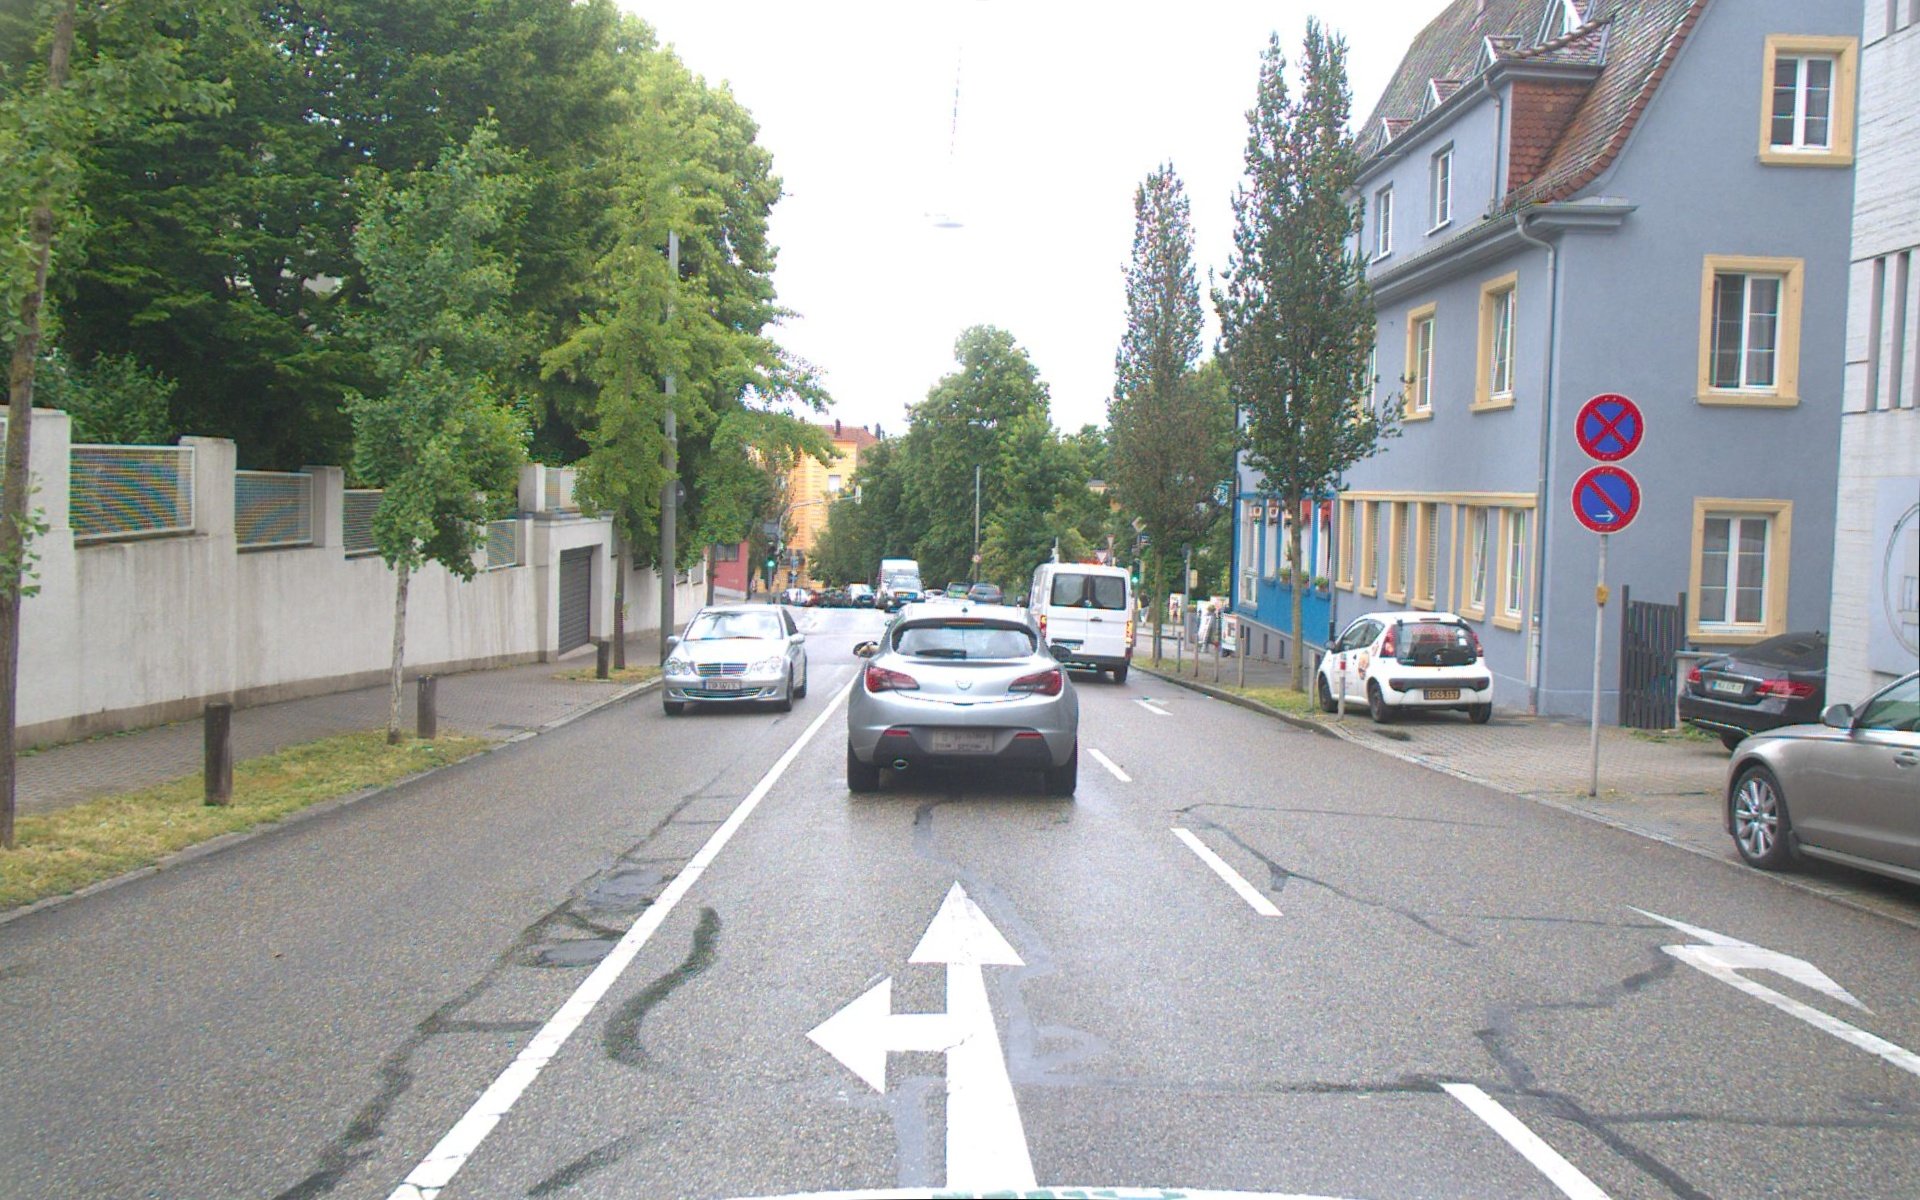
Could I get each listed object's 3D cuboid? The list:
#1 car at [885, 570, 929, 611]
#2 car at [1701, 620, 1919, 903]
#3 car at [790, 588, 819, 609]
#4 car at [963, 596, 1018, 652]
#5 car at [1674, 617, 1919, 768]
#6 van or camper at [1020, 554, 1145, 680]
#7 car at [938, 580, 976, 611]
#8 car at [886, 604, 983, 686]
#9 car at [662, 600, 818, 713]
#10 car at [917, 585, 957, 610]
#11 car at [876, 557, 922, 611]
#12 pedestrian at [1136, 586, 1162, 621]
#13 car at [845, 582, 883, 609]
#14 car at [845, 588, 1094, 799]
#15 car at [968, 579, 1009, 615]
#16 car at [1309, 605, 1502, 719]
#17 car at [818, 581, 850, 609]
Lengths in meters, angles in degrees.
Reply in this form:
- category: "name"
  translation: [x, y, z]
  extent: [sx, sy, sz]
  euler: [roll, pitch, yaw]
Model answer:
- category: "car"
  translation: [-2.418, -0.442, 74.314]
  extent: [1.785, 1.680, 4.343]
  euler: [3, 1, -4]
- category: "car"
  translation: [6.067, 0.909, 8.937]
  extent: [1.778, 1.485, 4.739]
  euler: [1, 0, -3]
- category: "car"
  translation: [-12.130, -0.091, 128.678]
  extent: [1.743, 1.523, 4.249]
  euler: [2, -1, -12]
- category: "car"
  translation: [0.820, 0.636, 45.714]
  extent: [1.355, 1.436, 3.455]
  euler: [1, 0, -1]
- category: "car"
  translation: [10.318, 1.072, 18.401]
  extent: [4.290, 1.432, 1.798]
  euler: [4, -1, -21]
- category: "van or camper"
  translation: [2.515, 0.331, 35.331]
  extent: [2.061, 2.366, 5.416]
  euler: [3, 0, -1]
- category: "car"
  translation: [-0.183, -0.216, 86.316]
  extent: [1.589, 1.512, 3.431]
  euler: [1, -1, -6]
- category: "car"
  translation: [-0.494, 0.807, 31.650]
  extent: [1.740, 1.455, 3.784]
  euler: [0, 0, -1]
- category: "car"
  translation: [-3.018, 0.732, 23.457]
  extent: [1.684, 1.409, 4.284]
  euler: [-1, 0, -1]
- category: "car"
  translation: [-1.590, -0.173, 112.111]
  extent: [1.784, 1.521, 3.986]
  euler: [-4, 0, -13]
- category: "car"
  translation: [-3.117, -0.796, 83.933]
  extent: [2.076, 2.590, 5.535]
  euler: [1, 0, -4]
- category: "pedestrian"
  translation: [8.804, 0.160, 77.012]
  extent: [0.762, 1.633, 0.950]
  euler: [-1, 0, -45]
- category: "car"
  translation: [-6.193, -0.282, 106.122]
  extent: [1.841, 1.602, 4.573]
  euler: [2, 0, -11]
- category: "car"
  translation: [0.037, 0.673, 14.130]
  extent: [1.778, 1.454, 3.999]
  euler: [2, 1, -1]
- category: "car"
  translation: [1.242, -0.098, 73.034]
  extent: [1.588, 1.512, 3.433]
  euler: [1, -1, -3]
- category: "car"
  translation: [6.227, 0.820, 23.496]
  extent: [1.555, 1.436, 3.453]
  euler: [-1, 0, -5]
- category: "car"
  translation: [-9.792, -0.364, 128.614]
  extent: [1.958, 2.049, 3.988]
  euler: [1, -1, -12]
